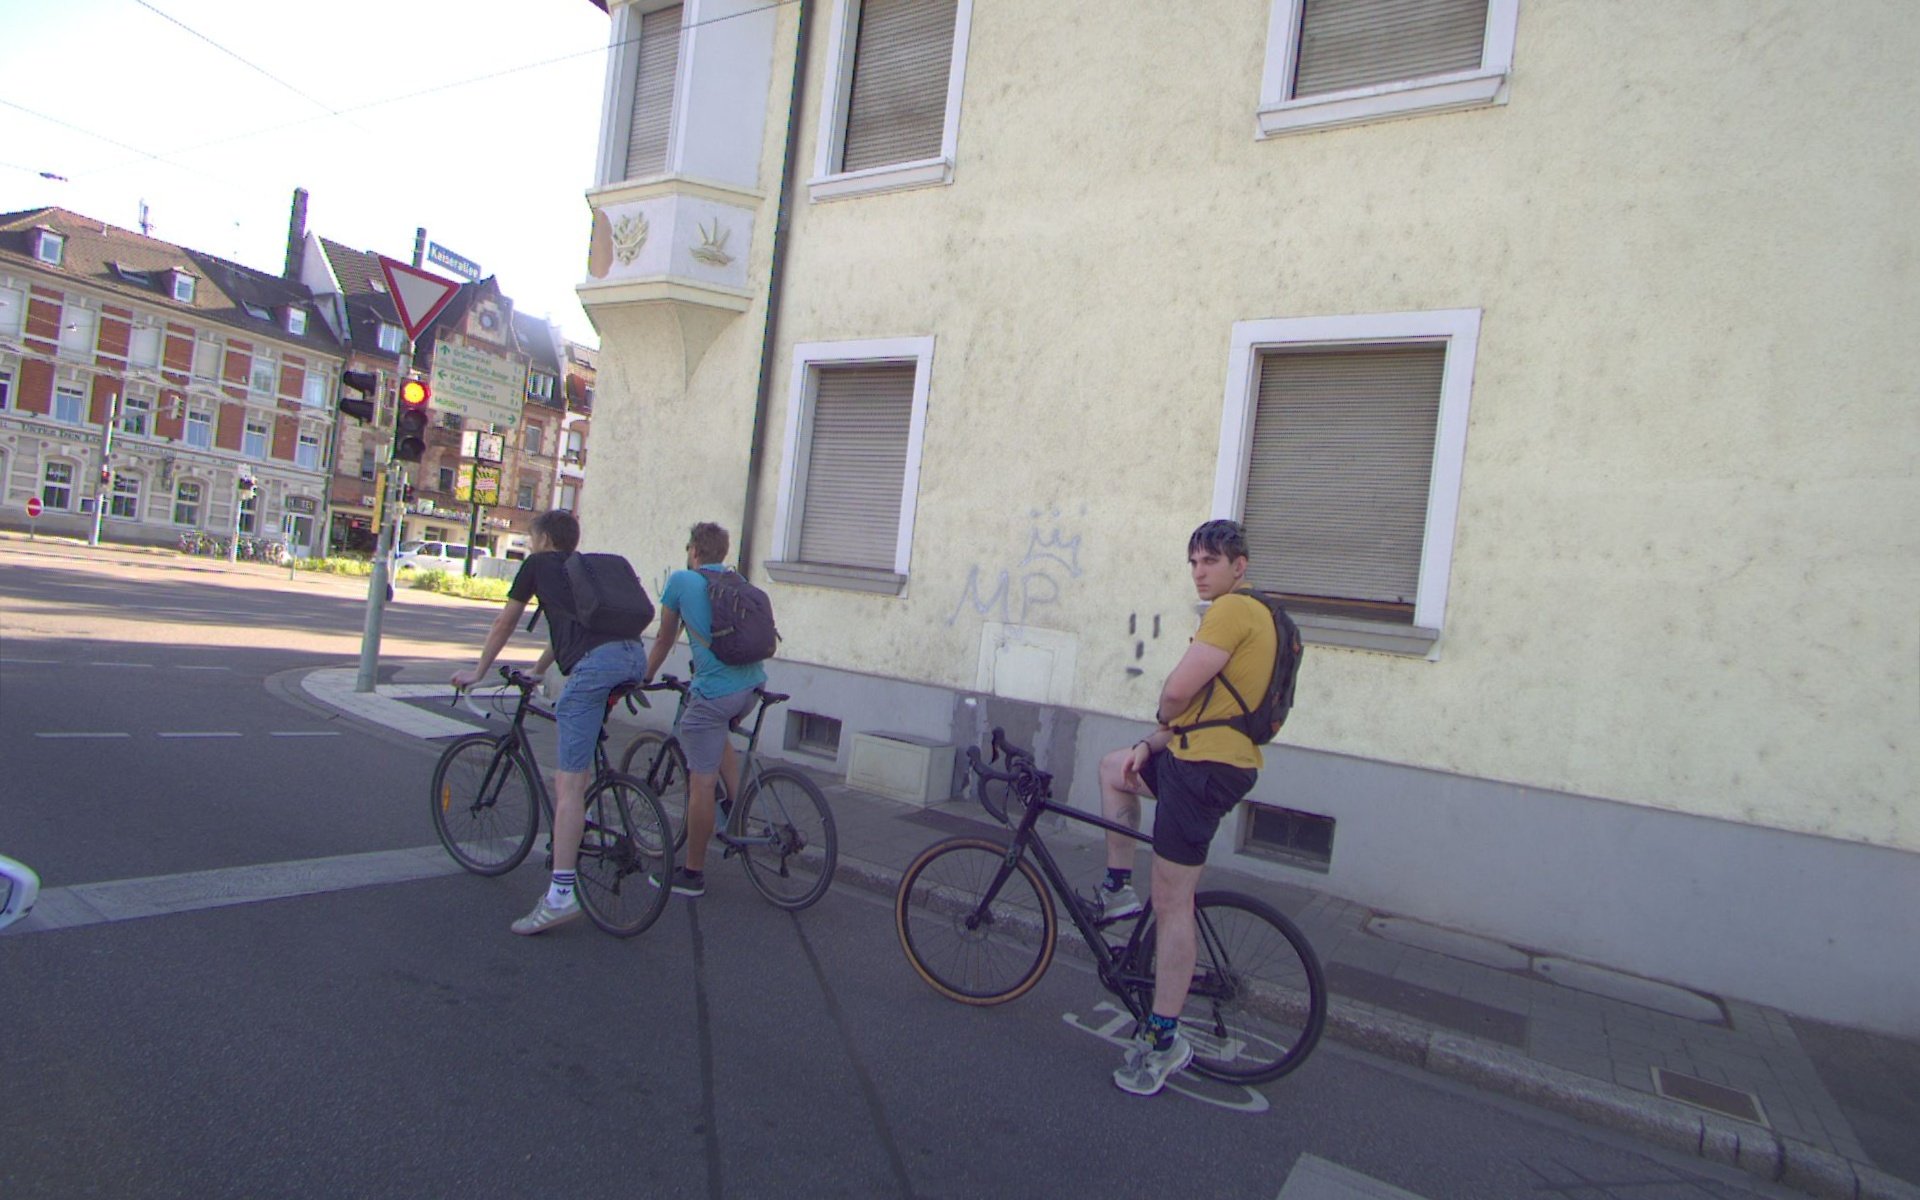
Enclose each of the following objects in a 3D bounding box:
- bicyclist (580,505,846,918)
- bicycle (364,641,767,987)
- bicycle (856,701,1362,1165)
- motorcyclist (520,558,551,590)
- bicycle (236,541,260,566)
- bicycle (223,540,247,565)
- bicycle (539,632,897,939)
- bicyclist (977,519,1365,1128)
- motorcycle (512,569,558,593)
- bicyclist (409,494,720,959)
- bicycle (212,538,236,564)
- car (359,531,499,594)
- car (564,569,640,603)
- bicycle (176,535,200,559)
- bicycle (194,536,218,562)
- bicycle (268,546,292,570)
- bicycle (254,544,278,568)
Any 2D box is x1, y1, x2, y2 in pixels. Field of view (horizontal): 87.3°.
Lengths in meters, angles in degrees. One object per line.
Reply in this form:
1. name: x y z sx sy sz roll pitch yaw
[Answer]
1. bicyclist: -1.290 0.526 5.271 0.978 1.910 0.652 7 0 32
2. bicycle: -1.803 0.837 4.468 1.858 1.071 0.571 7 0 32
3. bicycle: 0.509 1.092 3.773 1.670 1.180 0.571 7 0 32
4. motorcyclist: -20.416 -1.262 48.352 0.732 1.371 1.004 7 0 32
5. bicycle: -33.676 -2.189 47.564 1.759 1.033 0.485 7 0 42
6. bicycle: -34.004 -2.248 47.172 1.759 1.033 0.485 7 0 42
7. bicycle: -1.314 0.879 5.280 1.858 1.180 0.571 7 0 32
8. bicyclist: 0.768 0.699 3.656 1.019 1.839 0.652 7 0 32
9. motorcycle: -20.417 -0.890 48.393 0.552 0.908 2.043 7 -1 31
10. bicyclist: -1.754 0.494 4.470 0.978 1.788 0.652 7 0 32
11. bicycle: -34.191 -2.290 46.749 1.759 1.033 0.485 7 0 42
12. car: -23.271 -1.609 44.264 1.967 2.037 4.988 7 -1 31
13. car: -23.174 -0.881 65.231 1.966 1.641 4.261 7 -1 29
14. bicycle: -35.067 -2.412 45.667 1.759 0.925 0.485 7 0 42
15. bicycle: -34.642 -2.338 46.203 1.759 1.033 0.485 7 0 42
16. bicycle: -33.093 -2.056 48.980 1.759 1.033 0.485 7 0 42
17. bicycle: -33.313 -2.112 48.292 1.759 1.033 0.485 7 0 42
